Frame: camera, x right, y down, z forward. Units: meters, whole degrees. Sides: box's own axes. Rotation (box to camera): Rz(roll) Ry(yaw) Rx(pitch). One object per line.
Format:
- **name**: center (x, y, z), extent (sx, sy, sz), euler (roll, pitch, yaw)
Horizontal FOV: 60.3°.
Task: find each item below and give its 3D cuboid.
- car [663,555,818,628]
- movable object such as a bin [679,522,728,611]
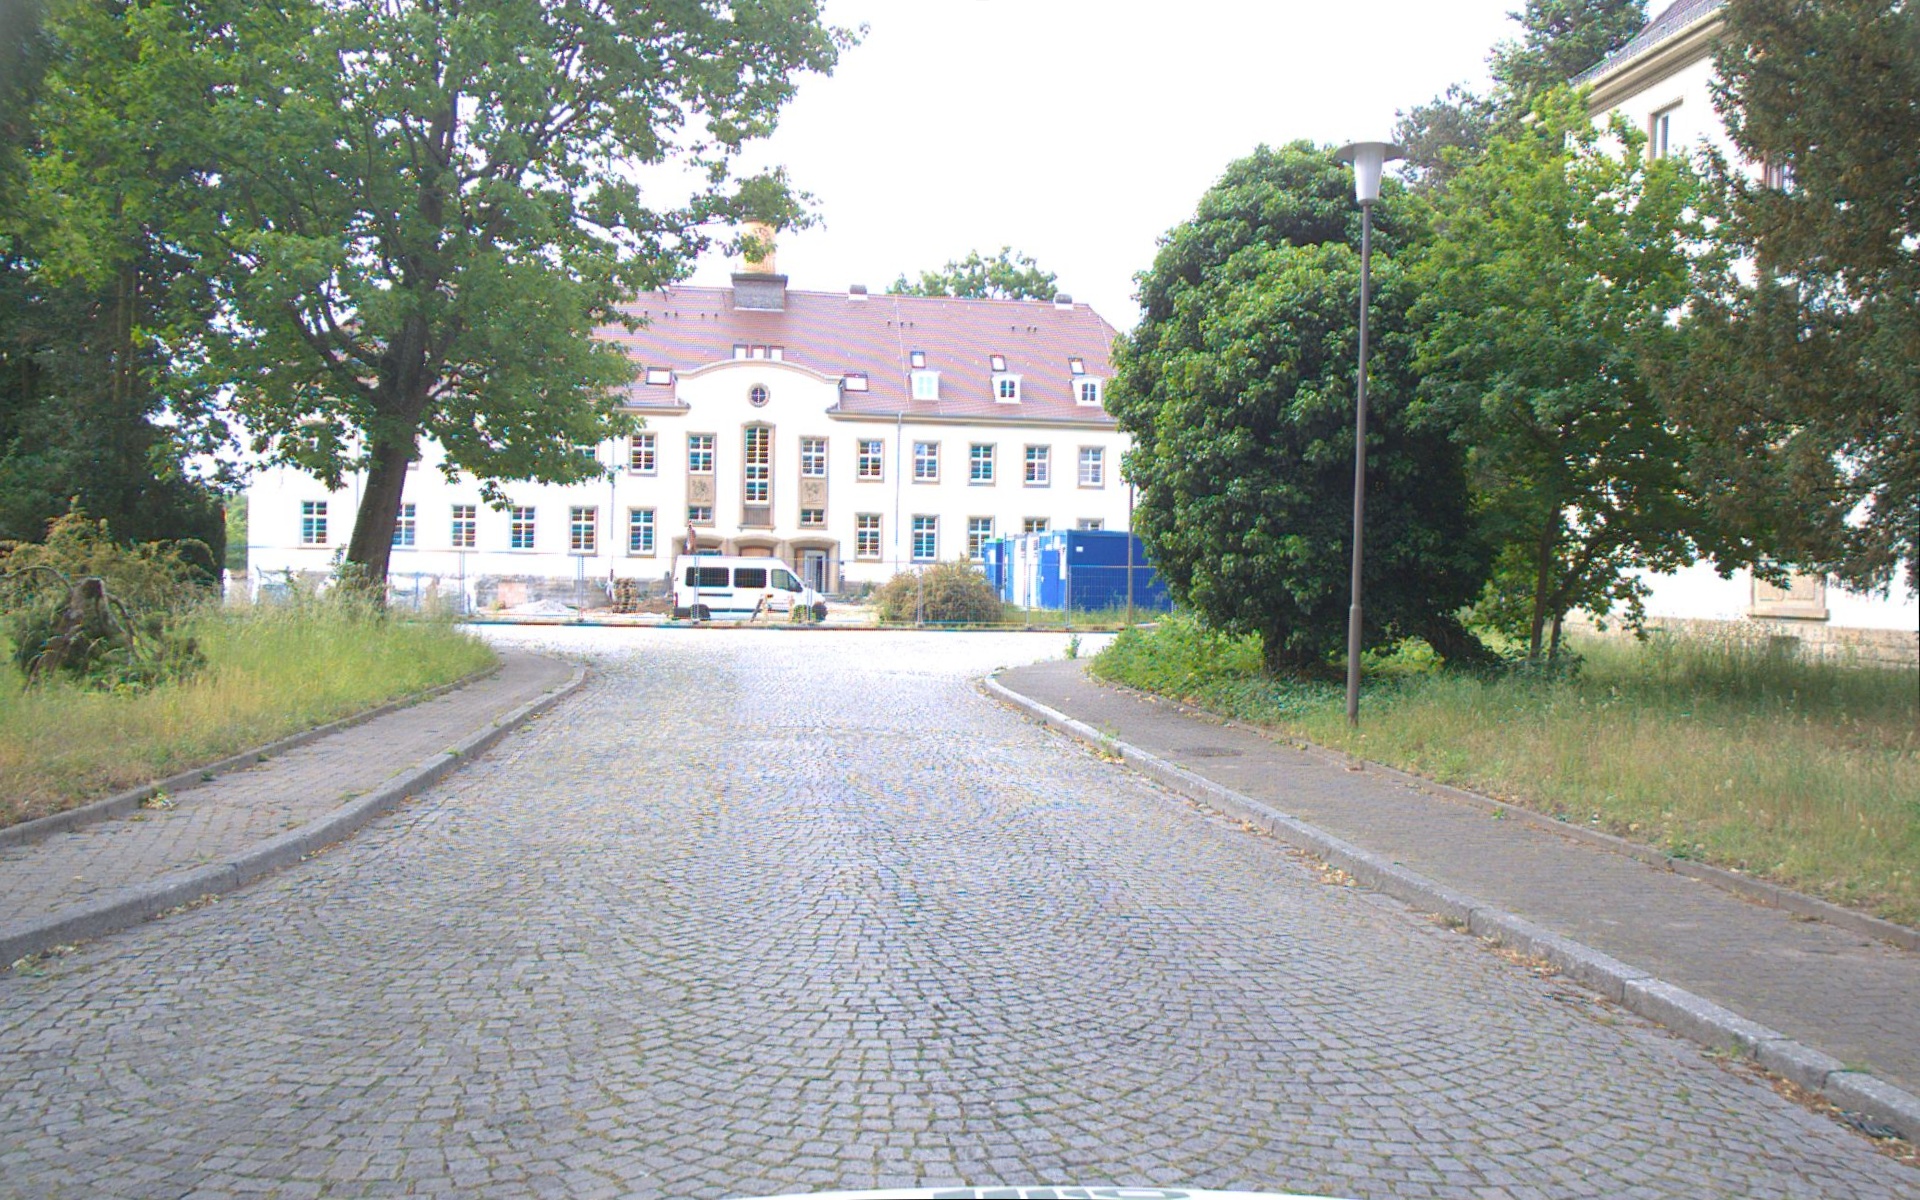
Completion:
- **car**: center (-7.488, -0.293, 56.726), extent (5.162, 2.385, 1.907), euler (1, 0, -7)
- **movable object such as a bin**: center (-11.726, -1.499, 75.400), extent (1.958, 3.837, 5.303), euler (1, 0, -11)
